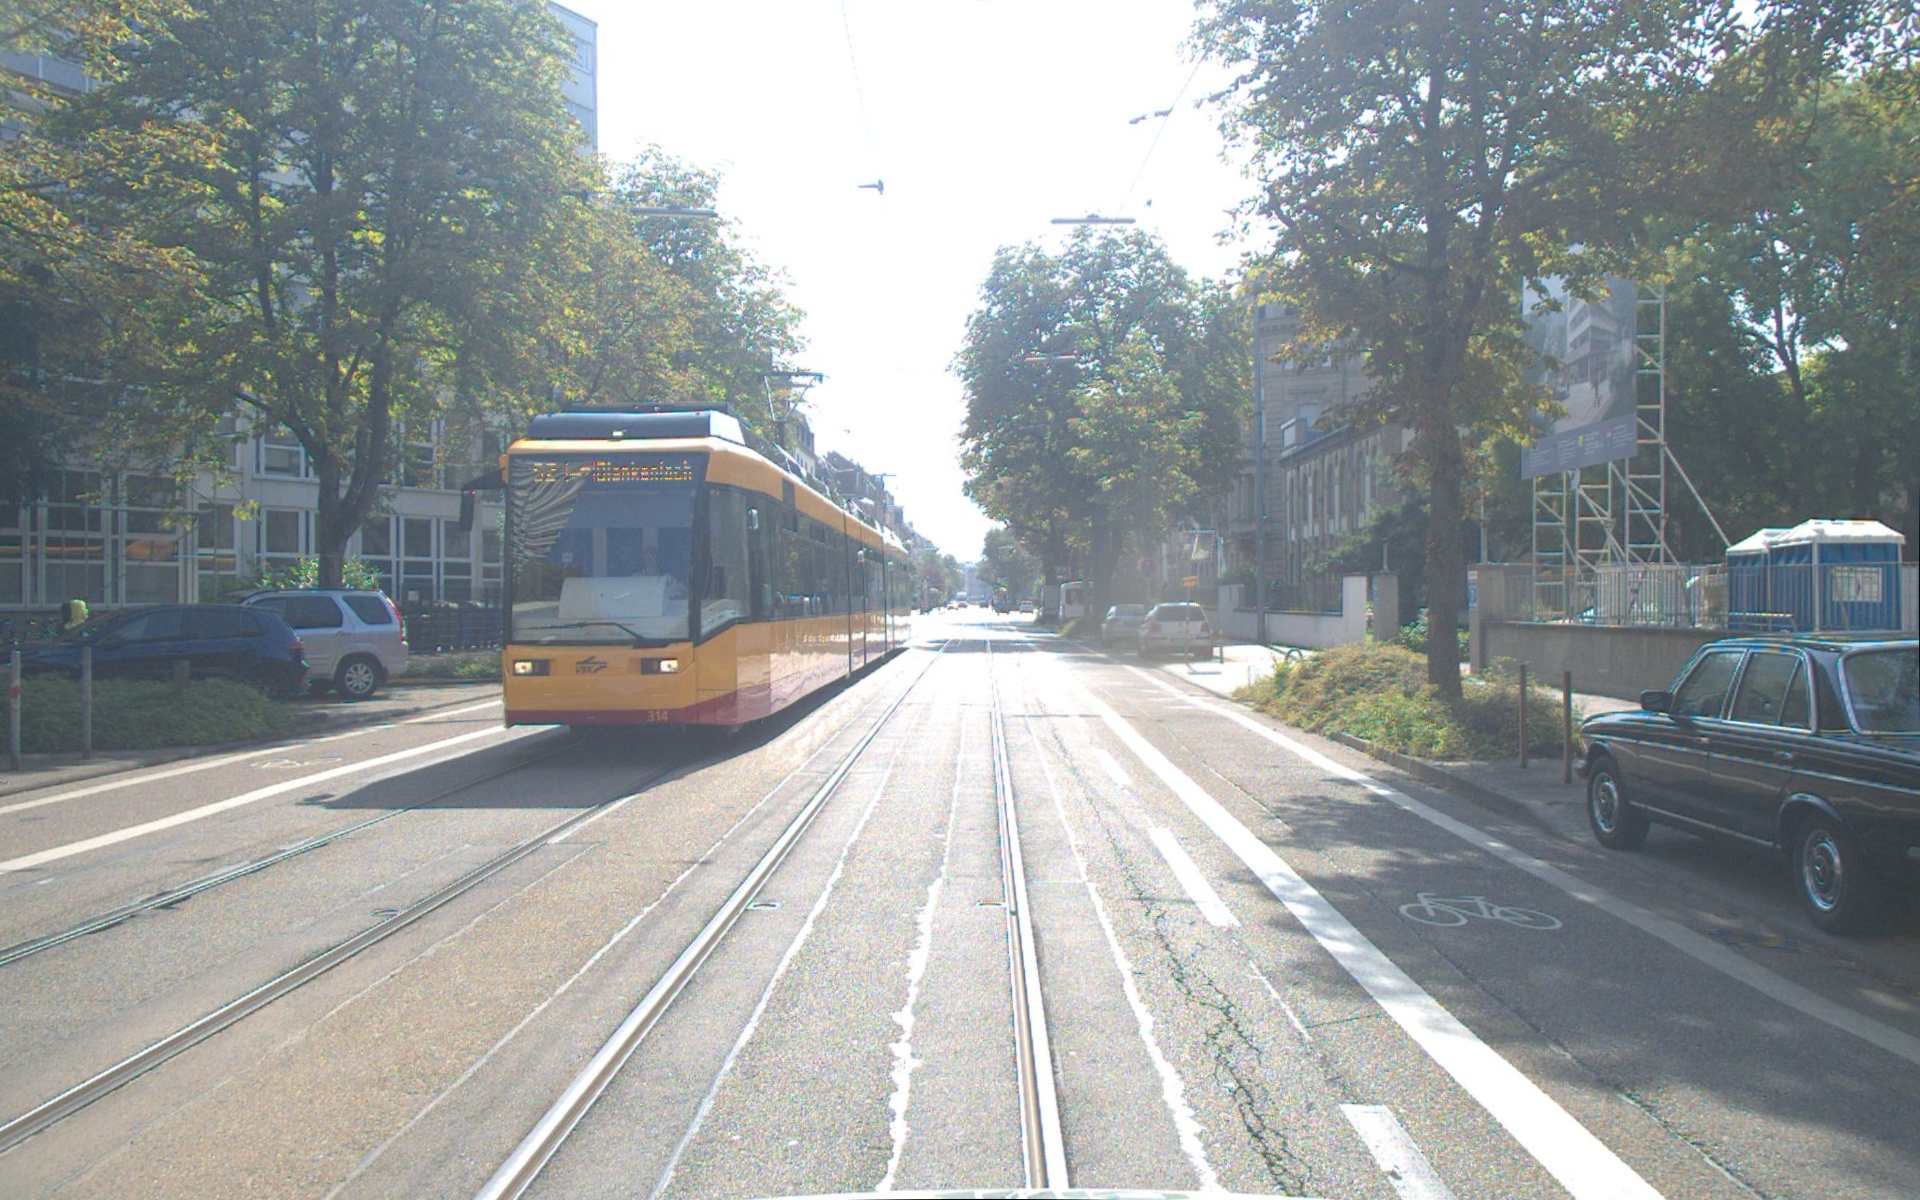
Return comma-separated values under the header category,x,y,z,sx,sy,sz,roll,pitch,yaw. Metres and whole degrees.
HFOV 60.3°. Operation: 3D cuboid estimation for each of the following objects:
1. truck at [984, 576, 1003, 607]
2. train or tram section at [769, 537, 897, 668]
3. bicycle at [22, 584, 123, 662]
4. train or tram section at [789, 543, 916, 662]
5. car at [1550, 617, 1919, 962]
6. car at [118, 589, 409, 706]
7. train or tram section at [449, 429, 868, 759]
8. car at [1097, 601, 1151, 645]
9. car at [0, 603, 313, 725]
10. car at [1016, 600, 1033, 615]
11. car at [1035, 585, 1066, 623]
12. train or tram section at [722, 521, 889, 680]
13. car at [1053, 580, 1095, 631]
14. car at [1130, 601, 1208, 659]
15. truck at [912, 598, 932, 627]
category,x,y,z,sx,sy,sz,roll,pitch,yaw
truck,3.463,-0.901,173.143,1.823,3.185,4.351,0,0,-1
train or tram section,-2.903,0.072,38.670,2.650,2.907,3.649,0,0,1
bicycle,-16.520,0.410,30.767,2.381,1.405,0.584,0,0,33
train or tram section,-2.772,0.084,45.771,2.625,2.912,10.545,0,0,1
car,5.042,0.845,9.412,1.717,1.402,4.719,-2,0,1
car,-10.578,0.678,25.271,3.766,1.650,1.716,0,0,-44
train or tram section,-3.129,-0.029,22.532,2.672,2.945,15.455,0,0,1
car,5.553,0.757,56.244,1.562,1.443,3.635,0,0,2
car,-10.768,0.779,21.919,3.763,1.467,1.668,0,0,-42
car,7.761,0.885,198.642,1.952,1.870,4.001,0,0,2
car,6.055,0.269,111.493,1.963,2.518,4.478,0,0,2
train or tram section,-2.976,0.017,33.552,2.672,2.899,6.543,0,0,1
car,5.799,0.269,84.524,1.963,2.534,4.478,0,0,2
car,5.339,0.747,42.635,1.654,1.443,3.635,0,0,2
truck,-4.010,1.313,173.225,1.952,3.027,4.571,0,0,0
